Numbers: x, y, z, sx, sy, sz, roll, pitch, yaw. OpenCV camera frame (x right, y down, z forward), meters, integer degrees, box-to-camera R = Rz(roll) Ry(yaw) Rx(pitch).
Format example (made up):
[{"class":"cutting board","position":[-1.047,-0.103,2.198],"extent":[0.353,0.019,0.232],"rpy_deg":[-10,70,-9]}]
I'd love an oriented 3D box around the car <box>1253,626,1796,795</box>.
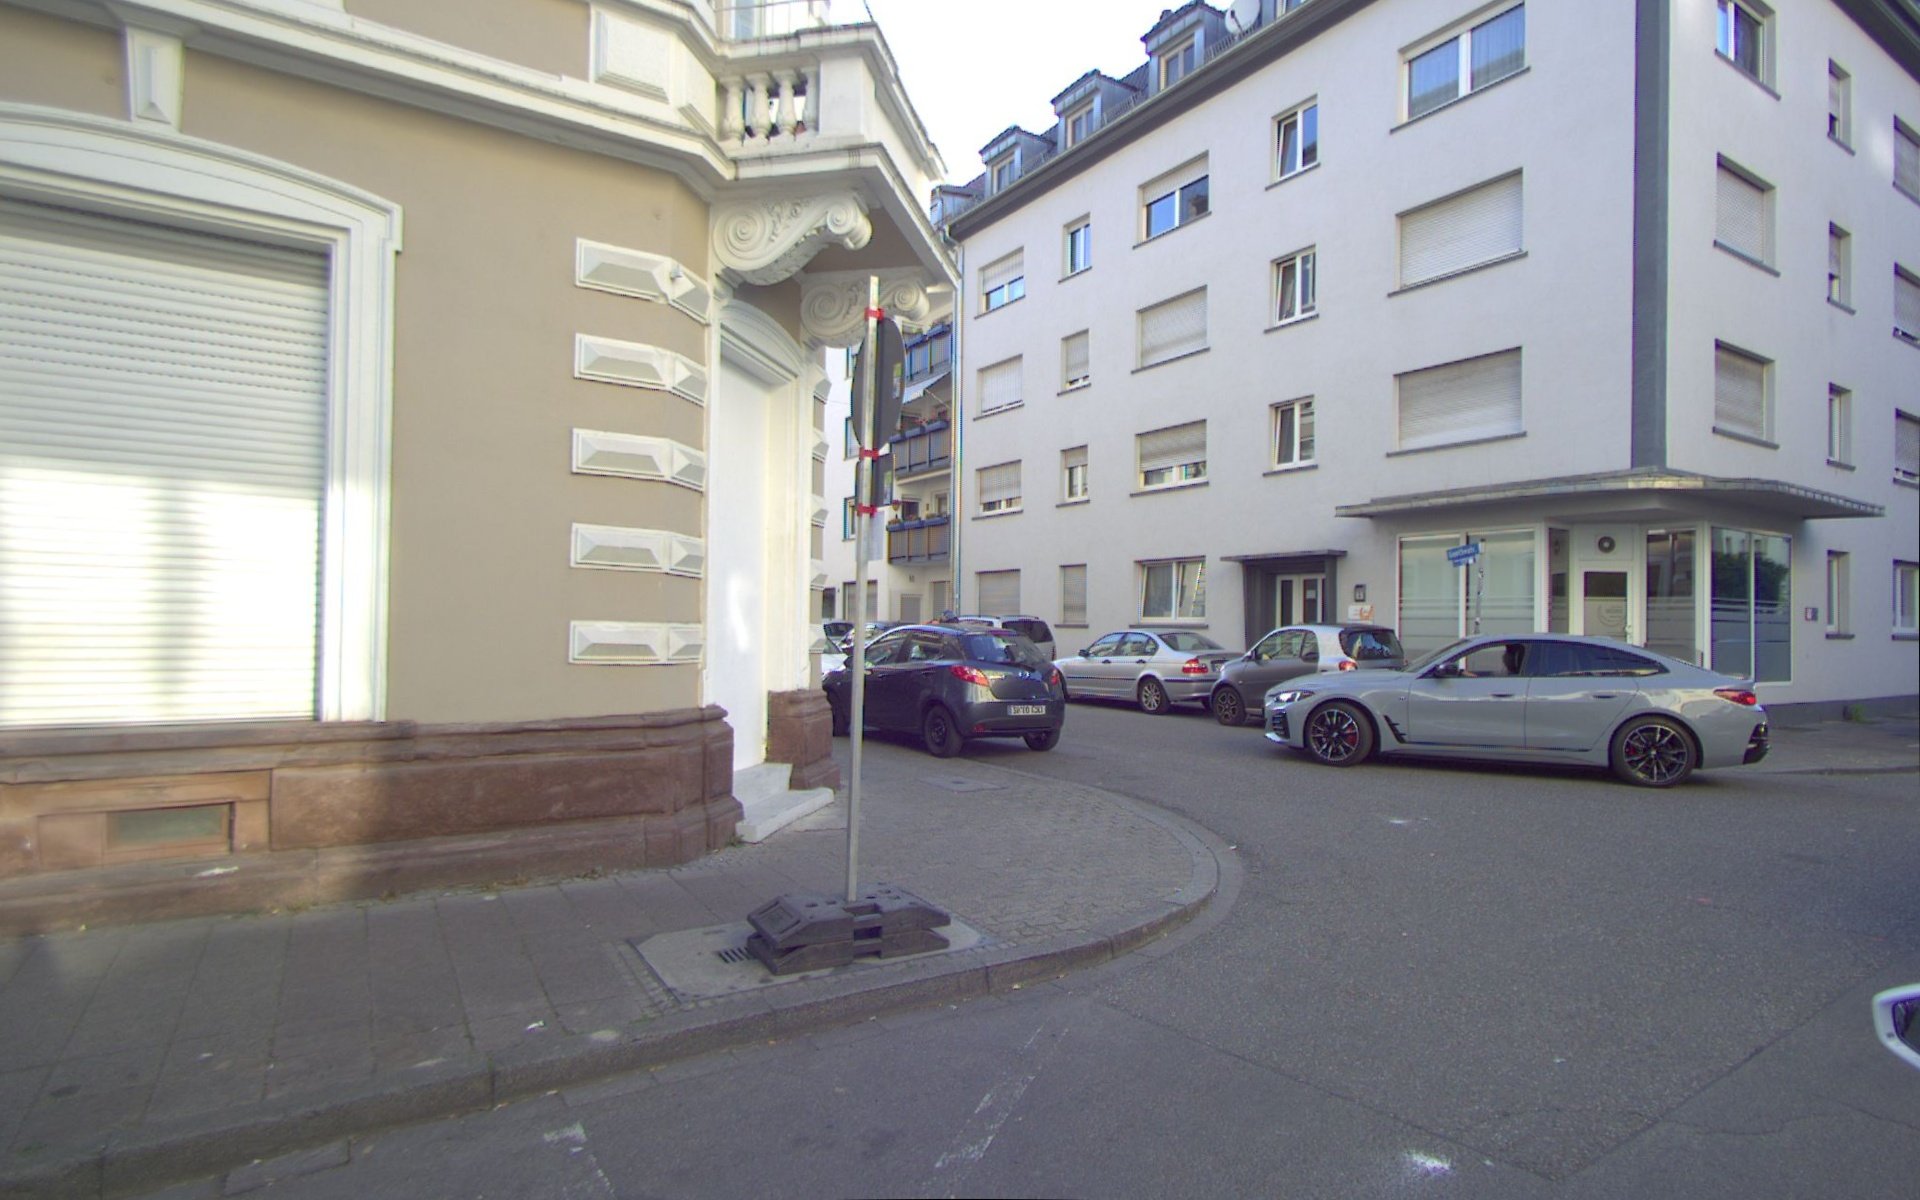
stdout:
[{"class":"car","position":[5.697,1.046,10.838],"extent":[4.717,1.470,1.933],"rpy_deg":[0,-1,22]}]

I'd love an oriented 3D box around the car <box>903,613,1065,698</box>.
[{"class":"car","position":[0.437,1.162,22.320],"extent":[1.586,1.626,3.993],"rpy_deg":[2,0,-33]}]

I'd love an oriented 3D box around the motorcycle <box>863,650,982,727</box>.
[{"class":"motorcycle","position":[-0.609,1.325,15.534],"extent":[0.962,1.042,1.978],"rpy_deg":[1,-1,-33]}]

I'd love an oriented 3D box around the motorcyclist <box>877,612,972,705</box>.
[{"class":"motorcyclist","position":[-0.561,0.875,15.483],"extent":[0.962,1.347,1.216],"rpy_deg":[1,-1,-34]}]

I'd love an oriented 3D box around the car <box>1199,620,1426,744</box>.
[{"class":"car","position":[5.085,1.116,14.740],"extent":[1.576,1.560,2.771],"rpy_deg":[2,0,-32]}]

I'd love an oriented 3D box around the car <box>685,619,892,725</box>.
[{"class":"car","position":[-2.956,1.077,16.529],"extent":[1.884,1.481,4.286],"rpy_deg":[1,-2,-32]}]

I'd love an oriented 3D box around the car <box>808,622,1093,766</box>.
[{"class":"car","position":[-0.246,1.019,12.351],"extent":[1.713,1.470,3.639],"rpy_deg":[2,-2,-36]}]

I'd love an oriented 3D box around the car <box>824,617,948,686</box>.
[{"class":"car","position":[-1.992,1.278,26.070],"extent":[1.587,1.560,3.685],"rpy_deg":[2,0,-34]}]

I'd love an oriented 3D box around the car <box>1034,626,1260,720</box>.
[{"class":"car","position":[3.241,1.227,18.205],"extent":[1.586,1.422,4.179],"rpy_deg":[2,-1,-33]}]

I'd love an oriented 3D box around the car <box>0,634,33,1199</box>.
[{"class":"car","position":[-3.795,0.776,0.740],"extent":[4.219,1.527,1.911],"rpy_deg":[1,-3,-32]}]

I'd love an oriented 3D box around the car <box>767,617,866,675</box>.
[{"class":"car","position":[-4.344,1.331,30.046],"extent":[1.586,1.560,3.470],"rpy_deg":[2,0,-33]}]
